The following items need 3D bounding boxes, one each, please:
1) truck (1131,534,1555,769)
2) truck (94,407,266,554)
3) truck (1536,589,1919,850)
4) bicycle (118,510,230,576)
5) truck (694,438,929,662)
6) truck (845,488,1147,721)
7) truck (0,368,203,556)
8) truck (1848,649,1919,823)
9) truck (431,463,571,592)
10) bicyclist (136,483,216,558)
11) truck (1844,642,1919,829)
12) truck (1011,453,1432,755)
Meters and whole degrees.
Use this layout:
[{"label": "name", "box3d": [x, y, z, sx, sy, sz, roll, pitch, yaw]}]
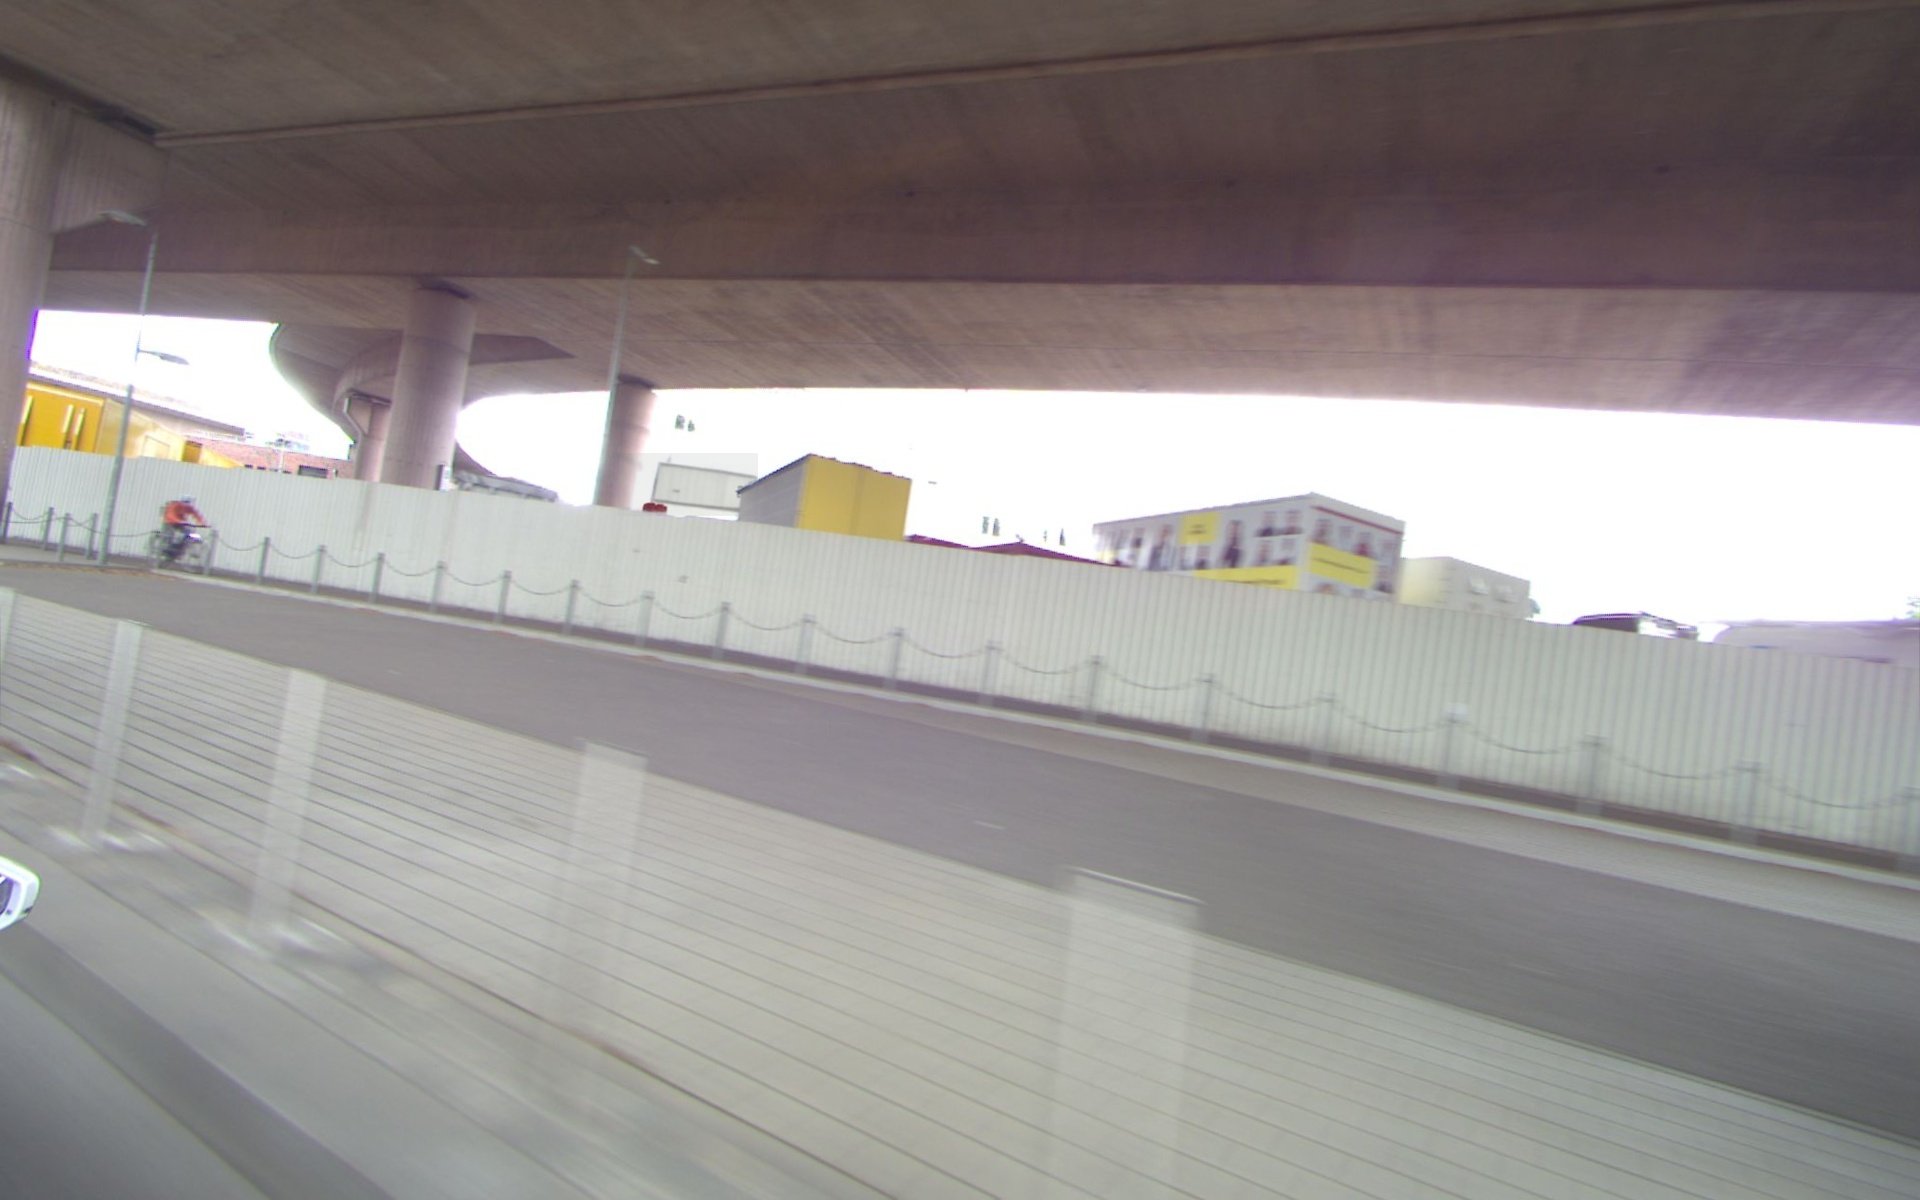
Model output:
[{"label": "truck", "box3d": [8.267, 0.877, 23.858, 2.779, 4.207, 9.872, 8, -1, -24]}, {"label": "truck", "box3d": [-33.126, -4.808, 43.237, 3.109, 4.958, 8.673, 9, -2, -23]}, {"label": "truck", "box3d": [17.365, 2.282, 19.867, 2.975, 4.354, 10.241, 8, -1, -23]}, {"label": "bicycle", "box3d": [-17.079, -1.238, 21.864, 2.091, 1.111, 0.805, 8, 0, 19]}, {"label": "truck", "box3d": [-4.387, -1.222, 26.731, 3.109, 4.495, 9.668, 8, -1, -24]}, {"label": "truck", "box3d": [0.270, -0.016, 24.439, 2.861, 4.232, 10.011, 8, -1, -23]}, {"label": "truck", "box3d": [-29.426, -4.322, 34.303, 3.109, 4.972, 8.673, 9, -2, -23]}, {"label": "truck", "box3d": [26.967, 3.813, 23.363, 2.877, 4.287, 8.713, 8, -1, -26]}, {"label": "truck", "box3d": [-13.678, -2.102, 30.595, 3.105, 2.981, 8.670, 6, 1, -22]}, {"label": "bicyclist", "box3d": [-17.023, -1.721, 21.862, 1.046, 1.422, 0.799, 8, 0, 19]}, {"label": "truck", "box3d": [24.835, 3.485, 21.063, 2.877, 4.208, 8.713, 8, -1, -26]}, {"label": "truck", "box3d": [5.034, -0.015, 22.384, 3.109, 4.981, 9.668, 8, -1, -24]}]
